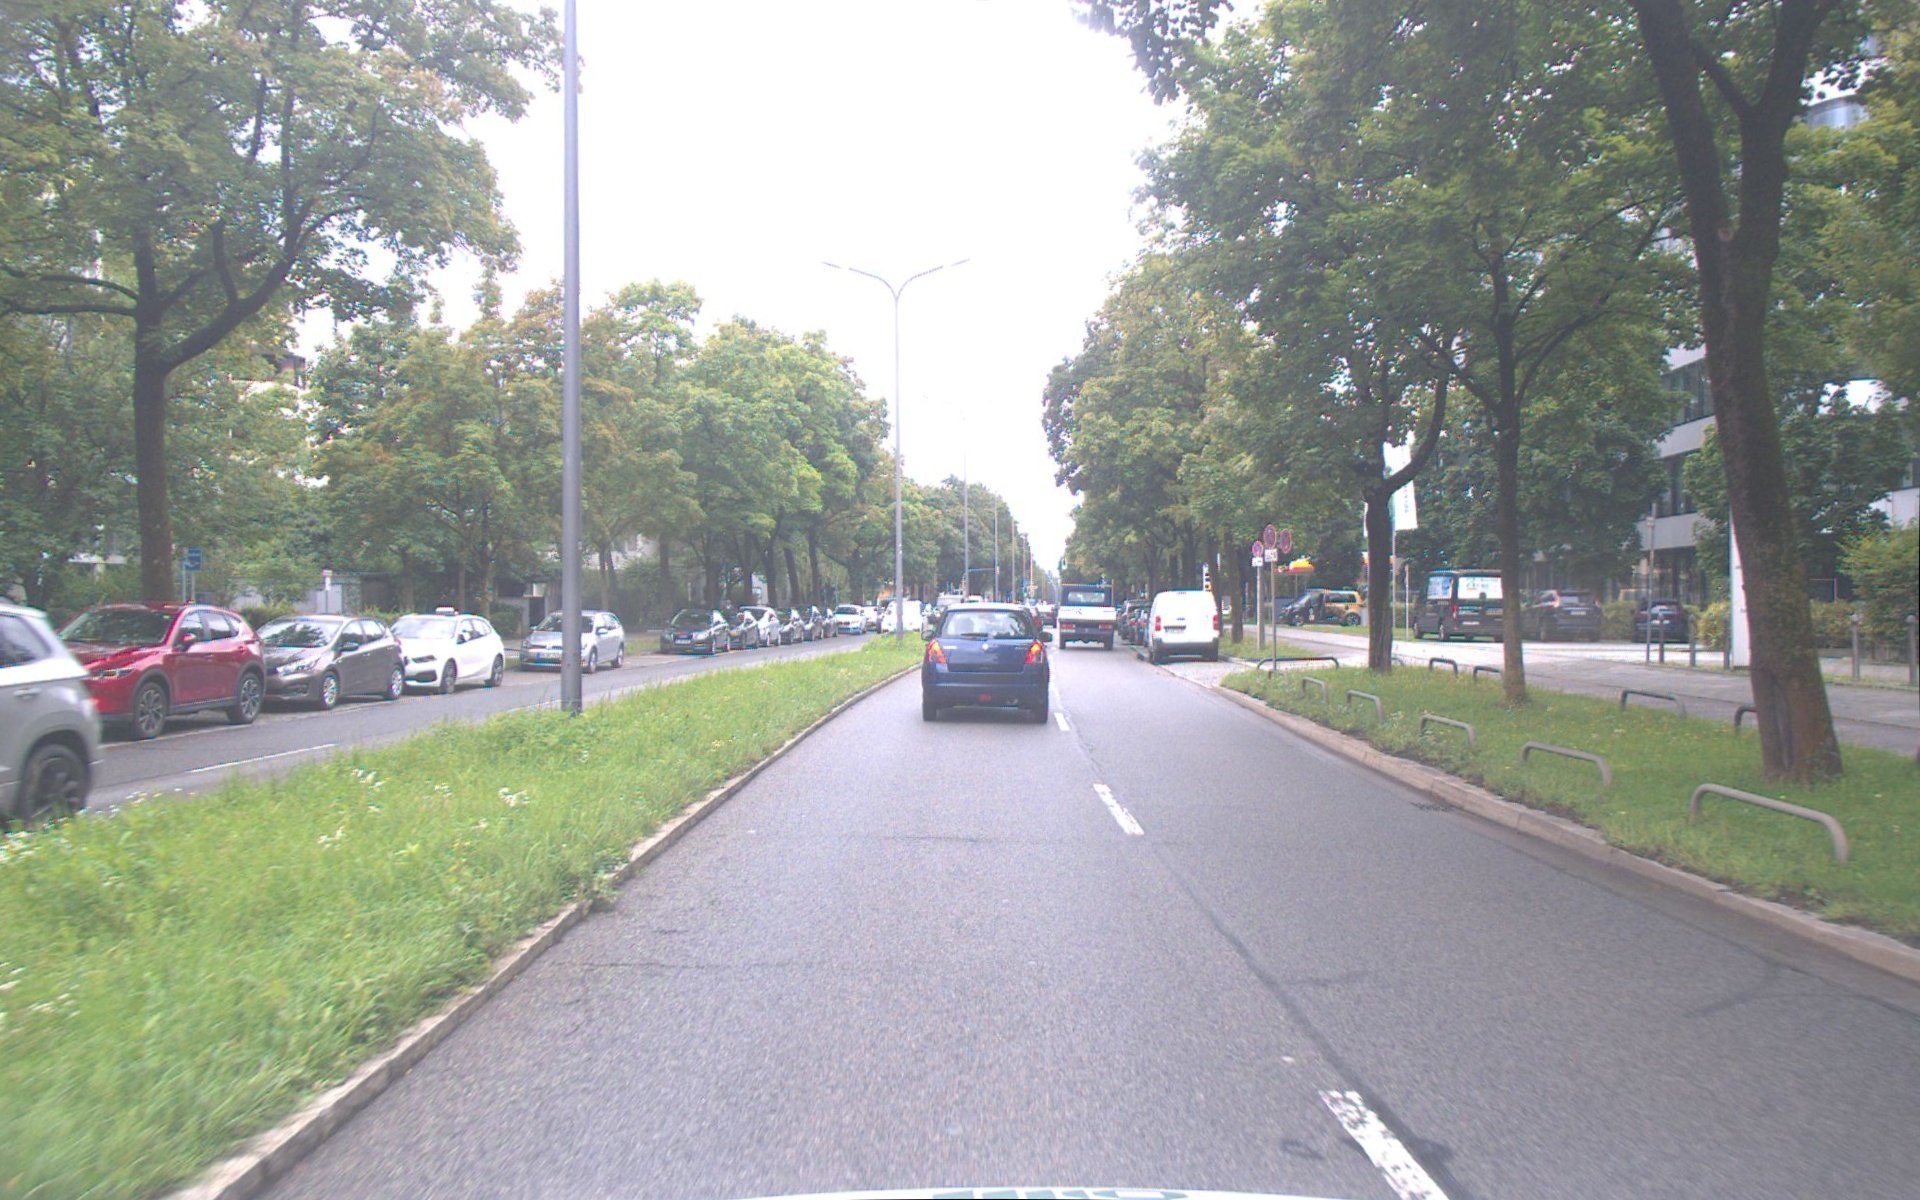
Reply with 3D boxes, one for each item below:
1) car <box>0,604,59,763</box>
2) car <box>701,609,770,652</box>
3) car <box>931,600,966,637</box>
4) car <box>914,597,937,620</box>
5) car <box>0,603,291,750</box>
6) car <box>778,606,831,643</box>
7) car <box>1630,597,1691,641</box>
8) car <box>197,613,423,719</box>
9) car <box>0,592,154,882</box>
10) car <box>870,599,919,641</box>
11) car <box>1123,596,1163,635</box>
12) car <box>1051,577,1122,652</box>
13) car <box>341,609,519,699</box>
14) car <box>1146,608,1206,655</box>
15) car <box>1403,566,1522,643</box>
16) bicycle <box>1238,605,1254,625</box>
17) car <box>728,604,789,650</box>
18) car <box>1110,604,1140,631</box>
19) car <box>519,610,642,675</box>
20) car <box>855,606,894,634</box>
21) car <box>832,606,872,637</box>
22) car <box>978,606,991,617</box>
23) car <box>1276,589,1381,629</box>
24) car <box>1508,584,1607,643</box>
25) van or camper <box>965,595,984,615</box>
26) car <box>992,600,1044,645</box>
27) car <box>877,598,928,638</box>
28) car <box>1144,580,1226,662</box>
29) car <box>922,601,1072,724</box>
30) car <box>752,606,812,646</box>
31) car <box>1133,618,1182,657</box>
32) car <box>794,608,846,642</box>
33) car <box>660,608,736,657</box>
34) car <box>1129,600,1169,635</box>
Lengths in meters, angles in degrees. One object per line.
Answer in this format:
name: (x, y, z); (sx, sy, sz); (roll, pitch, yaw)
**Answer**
car: (-11.082, 0.878, 16.173); (1.702, 1.672, 4.687); (1, 0, 4)
car: (-8.173, 1.093, 60.564); (1.591, 1.448, 4.194); (2, 0, 5)
car: (-0.632, 1.071, 97.967); (1.743, 2.065, 4.820); (-1, 0, 3)
car: (-2.903, 0.708, 139.549); (1.759, 1.794, 5.057); (-1, 0, 0)
car: (-10.771, 0.918, 21.995); (1.703, 1.680, 4.607); (2, 0, 2)
car: (-7.100, 1.098, 75.812); (1.650, 1.625, 4.212); (2, 0, 4)
car: (22.968, 0.601, 54.330); (1.746, 1.398, 3.965); (0, 0, 21)
car: (-10.467, 1.002, 27.003); (1.702, 1.508, 4.336); (2, 0, 4)
car: (-6.392, 0.796, 8.896); (1.729, 1.653, 4.378); (-1, 0, 4)
car: (-3.625, 1.084, 92.586); (2.163, 2.232, 5.801); (-2, 0, 3)
car: (8.489, 0.710, 77.023); (1.774, 1.705, 4.803); (-1, 0, 6)
car: (4.465, 0.482, 57.944); (2.367, 2.487, 5.089); (1, 0, 5)
car: (-10.097, 0.977, 31.868); (1.702, 1.556, 4.477); (1, 0, 4)
car: (7.082, 1.004, 54.482); (1.666, 1.422, 4.235); (-1, 0, 4)
car: (16.552, 0.141, 54.855); (2.218, 2.347, 6.269); (-1, 0, 2)
bicycle: (17.500, 0.898, 101.306); (0.732, 1.203, 2.247); (-1, 0, 4)
car: (-7.879, 1.029, 64.976); (1.591, 1.676, 3.869); (2, 0, 4)
car: (10.236, 1.072, 102.509); (1.742, 1.537, 4.287); (-2, 0, 5)
car: (-9.517, 1.030, 41.842); (1.700, 1.473, 4.824); (2, 0, 3)
car: (-5.294, 1.215, 102.524); (1.794, 1.637, 4.493); (2, 0, 4)
car: (-5.998, 1.161, 92.365); (1.720, 1.622, 4.491); (2, 0, 3)
car: (3.491, 1.602, 234.634); (1.602, 1.467, 3.736); (-1, 0, 4)
car: (20.228, 0.501, 90.896); (5.355, 2.120, 2.148); (-1, 0, 3)
car: (19.886, 0.429, 55.231); (1.804, 1.850, 4.473); (-1, 0, 2)
van or camper: (1.875, 0.657, 214.149); (2.095, 2.519, 6.262); (-1, 0, 4)
car: (2.070, 0.781, 58.777); (1.761, 1.525, 3.661); (-1, 0, 2)
car: (-2.491, 0.772, 72.087); (1.795, 1.671, 4.352); (-1, 0, 3)
car: (6.479, 0.580, 48.170); (1.945, 2.195, 5.558); (-1, 0, 4)
car: (0.488, 0.781, 22.505); (1.857, 1.525, 3.660); (0, 0, 1)
car: (-7.506, 1.070, 70.232); (1.680, 1.551, 5.036); (2, 0, 3)
car: (7.781, 1.457, 65.369); (1.666, 1.446, 4.123); (-1, 0, 4)
car: (-6.786, 1.189, 80.556); (1.723, 1.540, 4.950); (2, 0, 4)
car: (-8.606, 1.045, 54.706); (1.547, 1.448, 4.364); (2, 0, 3)
car: (8.201, 0.750, 71.911); (1.665, 1.433, 4.516); (-1, 0, 6)
